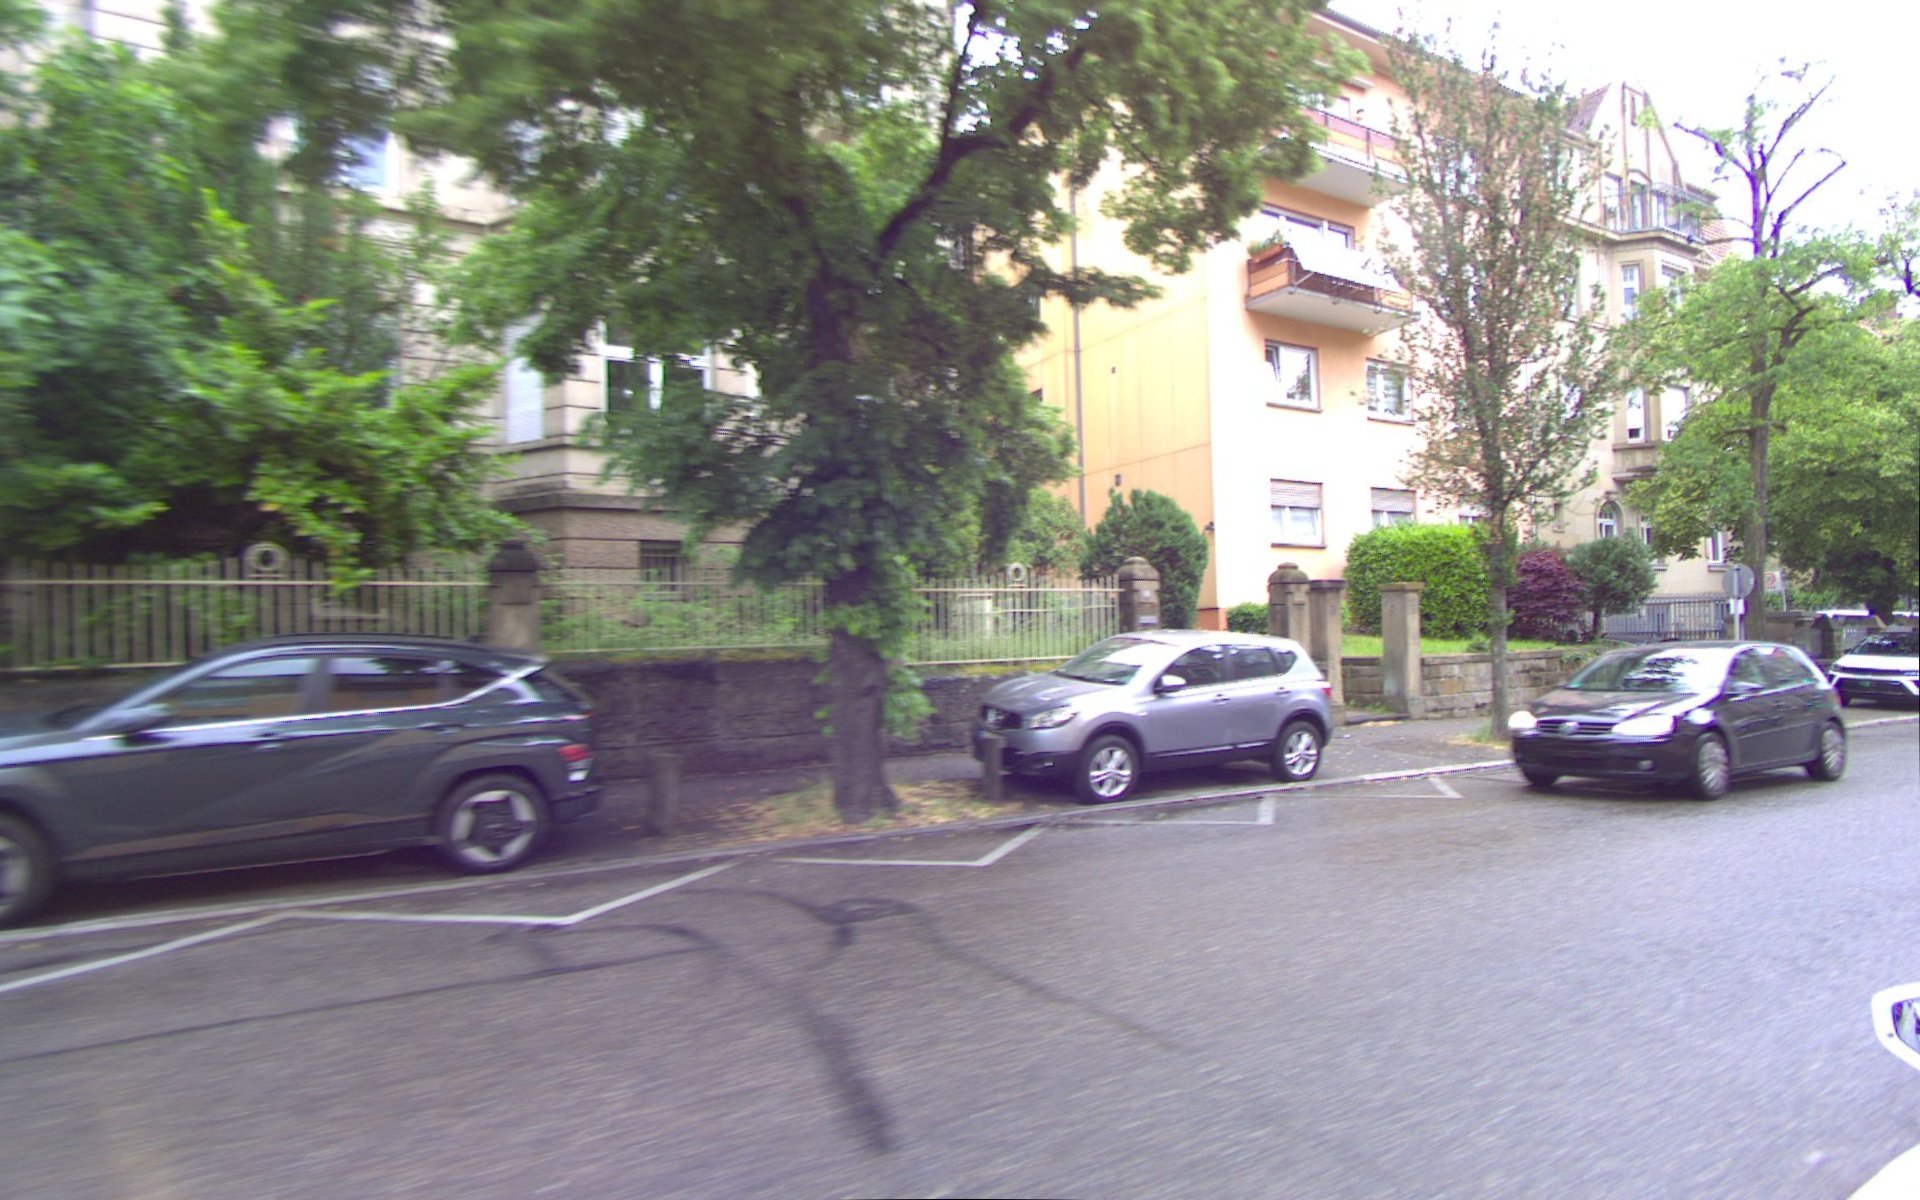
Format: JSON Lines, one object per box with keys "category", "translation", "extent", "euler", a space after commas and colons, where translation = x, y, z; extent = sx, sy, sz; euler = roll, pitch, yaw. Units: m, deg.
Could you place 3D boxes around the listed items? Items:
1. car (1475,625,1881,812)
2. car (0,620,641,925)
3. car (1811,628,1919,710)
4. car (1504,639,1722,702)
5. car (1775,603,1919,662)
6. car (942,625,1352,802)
{"category": "car", "translation": [7.705, 1.099, 10.676], "extent": [4.536, 1.537, 1.764], "euler": [-1, -2, -30]}
{"category": "car", "translation": [-4.575, 0.997, 6.838], "extent": [4.256, 1.580, 1.731], "euler": [3, 0, -33]}
{"category": "car", "translation": [20.439, 1.470, 21.743], "extent": [4.251, 1.580, 1.733], "euler": [2, -1, -30]}
{"category": "car", "translation": [15.444, 1.623, 23.966], "extent": [1.816, 1.344, 3.968], "euler": [1, -3, -31]}
{"category": "car", "translation": [37.700, 1.297, 42.491], "extent": [1.992, 2.076, 4.662], "euler": [0, 3, -15]}
{"category": "car", "translation": [2.097, 1.129, 10.944], "extent": [4.250, 1.580, 1.734], "euler": [2, -1, -29]}
